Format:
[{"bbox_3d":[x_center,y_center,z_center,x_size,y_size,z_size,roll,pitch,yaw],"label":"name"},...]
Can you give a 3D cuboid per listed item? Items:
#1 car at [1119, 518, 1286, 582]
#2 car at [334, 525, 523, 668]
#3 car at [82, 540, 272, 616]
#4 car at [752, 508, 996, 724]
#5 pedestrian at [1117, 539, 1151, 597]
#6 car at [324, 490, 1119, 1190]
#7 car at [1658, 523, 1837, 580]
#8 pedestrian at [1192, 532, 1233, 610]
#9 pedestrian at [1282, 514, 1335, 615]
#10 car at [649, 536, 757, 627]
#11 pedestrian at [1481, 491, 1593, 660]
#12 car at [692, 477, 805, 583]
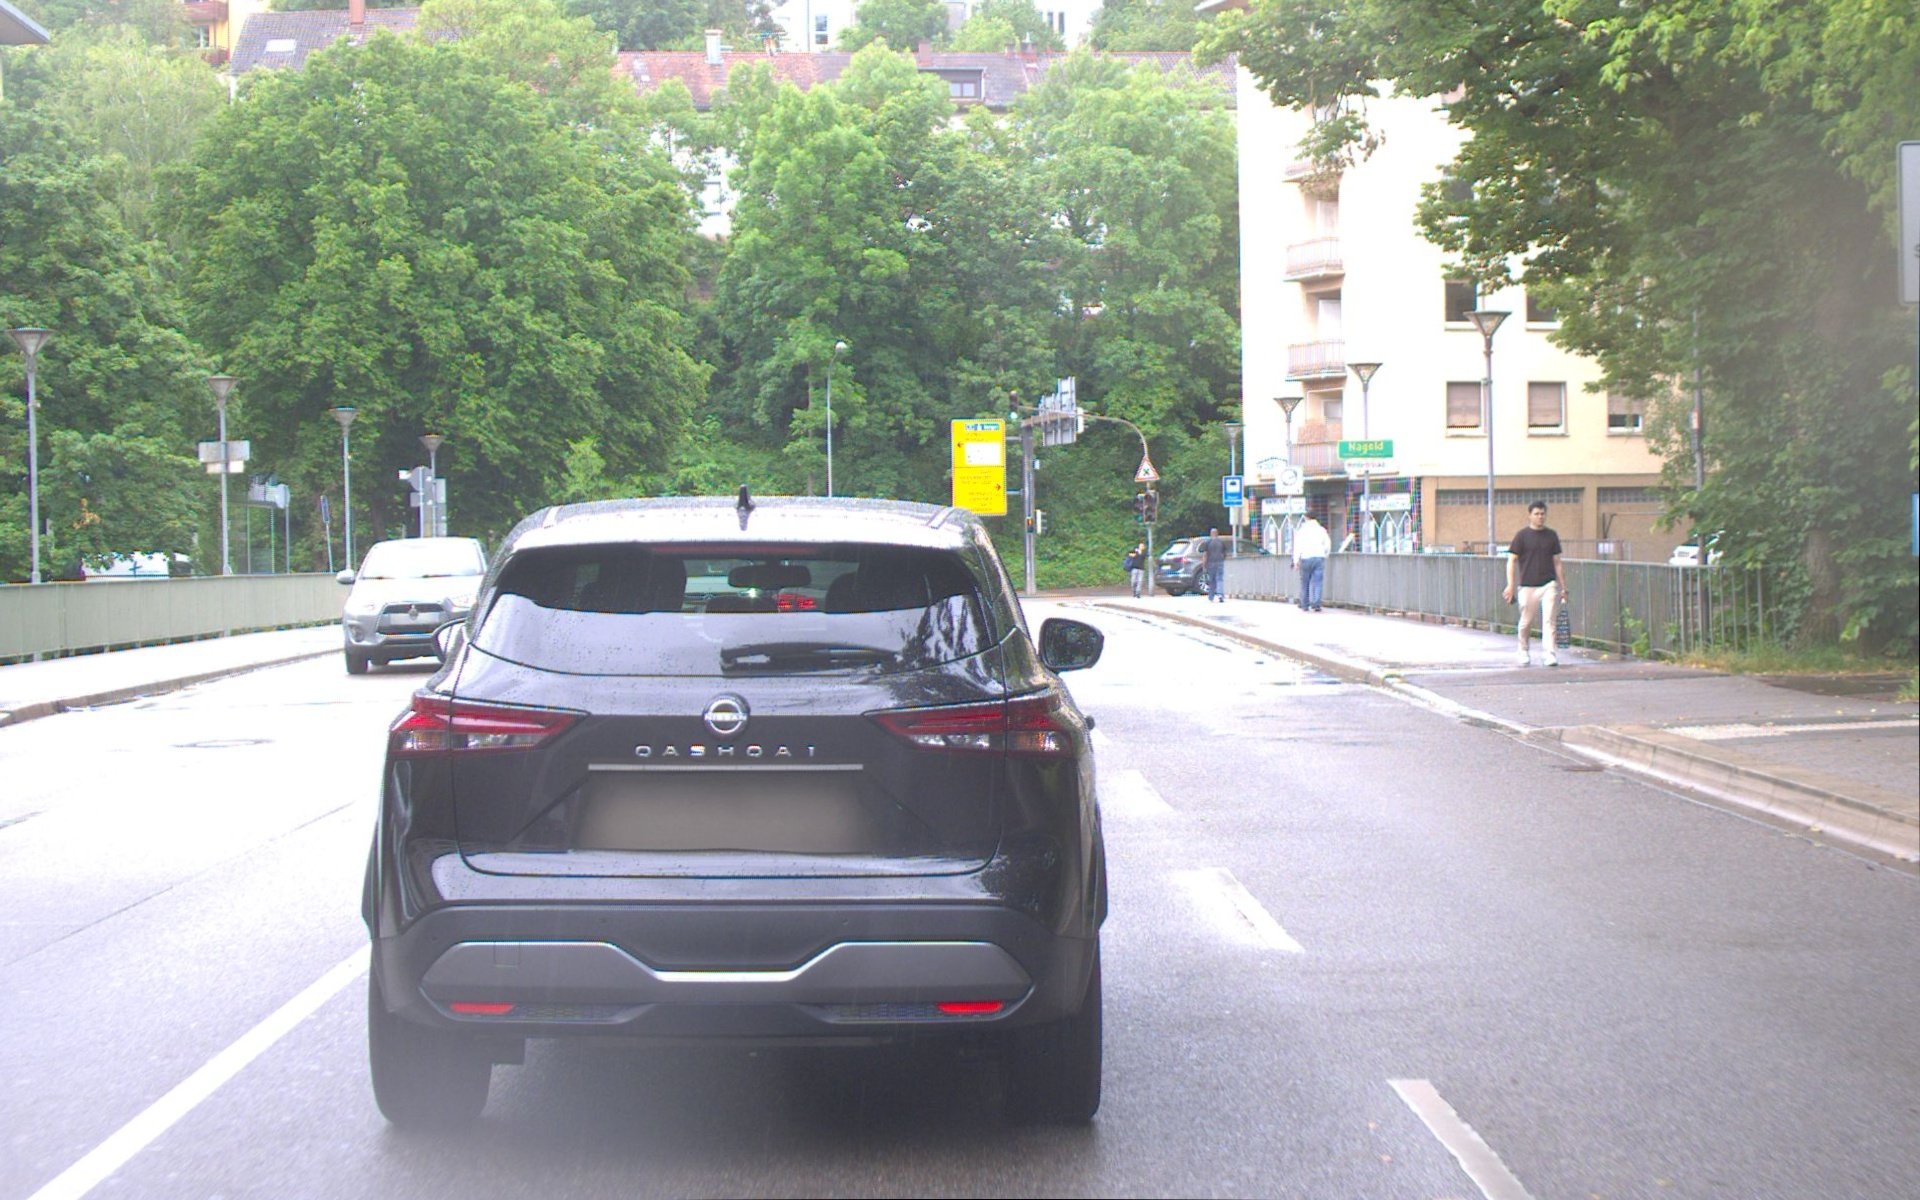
[{"bbox_3d":[6.921,-1.432,98.100,4.366,1.643,1.884,-3,1,-26],"label":"car"},{"bbox_3d":[-6.439,-0.088,42.030,1.813,1.573,4.232,-2,2,-3],"label":"car"},{"bbox_3d":[-20.545,-0.599,90.369,4.741,1.848,2.001,-1,3,-9],"label":"car"},{"bbox_3d":[-0.670,0.078,27.721,1.811,1.597,4.000,0,1,-1],"label":"car"},{"bbox_3d":[4.959,-0.922,97.768,0.862,1.613,0.839,-2,0,0],"label":"pedestrian"},{"bbox_3d":[-0.573,0.506,9.846,1.811,1.597,4.000,0,1,-1],"label":"car"},{"bbox_3d":[21.426,-1.329,93.539,4.438,1.371,1.818,-2,3,-17],"label":"car"},{"bbox_3d":[5.574,-0.637,75.874,0.761,1.671,0.781,-3,1,0],"label":"pedestrian"},{"bbox_3d":[6.111,-0.623,60.321,0.779,1.746,1.061,-1,0,-1],"label":"pedestrian"},{"bbox_3d":[-4.577,-0.364,61.633,1.781,1.469,4.167,-2,2,-3],"label":"car"},{"bbox_3d":[5.938,-0.252,35.435,0.847,1.670,1.168,-3,1,-1],"label":"pedestrian"},{"bbox_3d":[-4.901,-1.671,80.621,2.289,2.300,6.510,-2,2,-1],"label":"car"}]
